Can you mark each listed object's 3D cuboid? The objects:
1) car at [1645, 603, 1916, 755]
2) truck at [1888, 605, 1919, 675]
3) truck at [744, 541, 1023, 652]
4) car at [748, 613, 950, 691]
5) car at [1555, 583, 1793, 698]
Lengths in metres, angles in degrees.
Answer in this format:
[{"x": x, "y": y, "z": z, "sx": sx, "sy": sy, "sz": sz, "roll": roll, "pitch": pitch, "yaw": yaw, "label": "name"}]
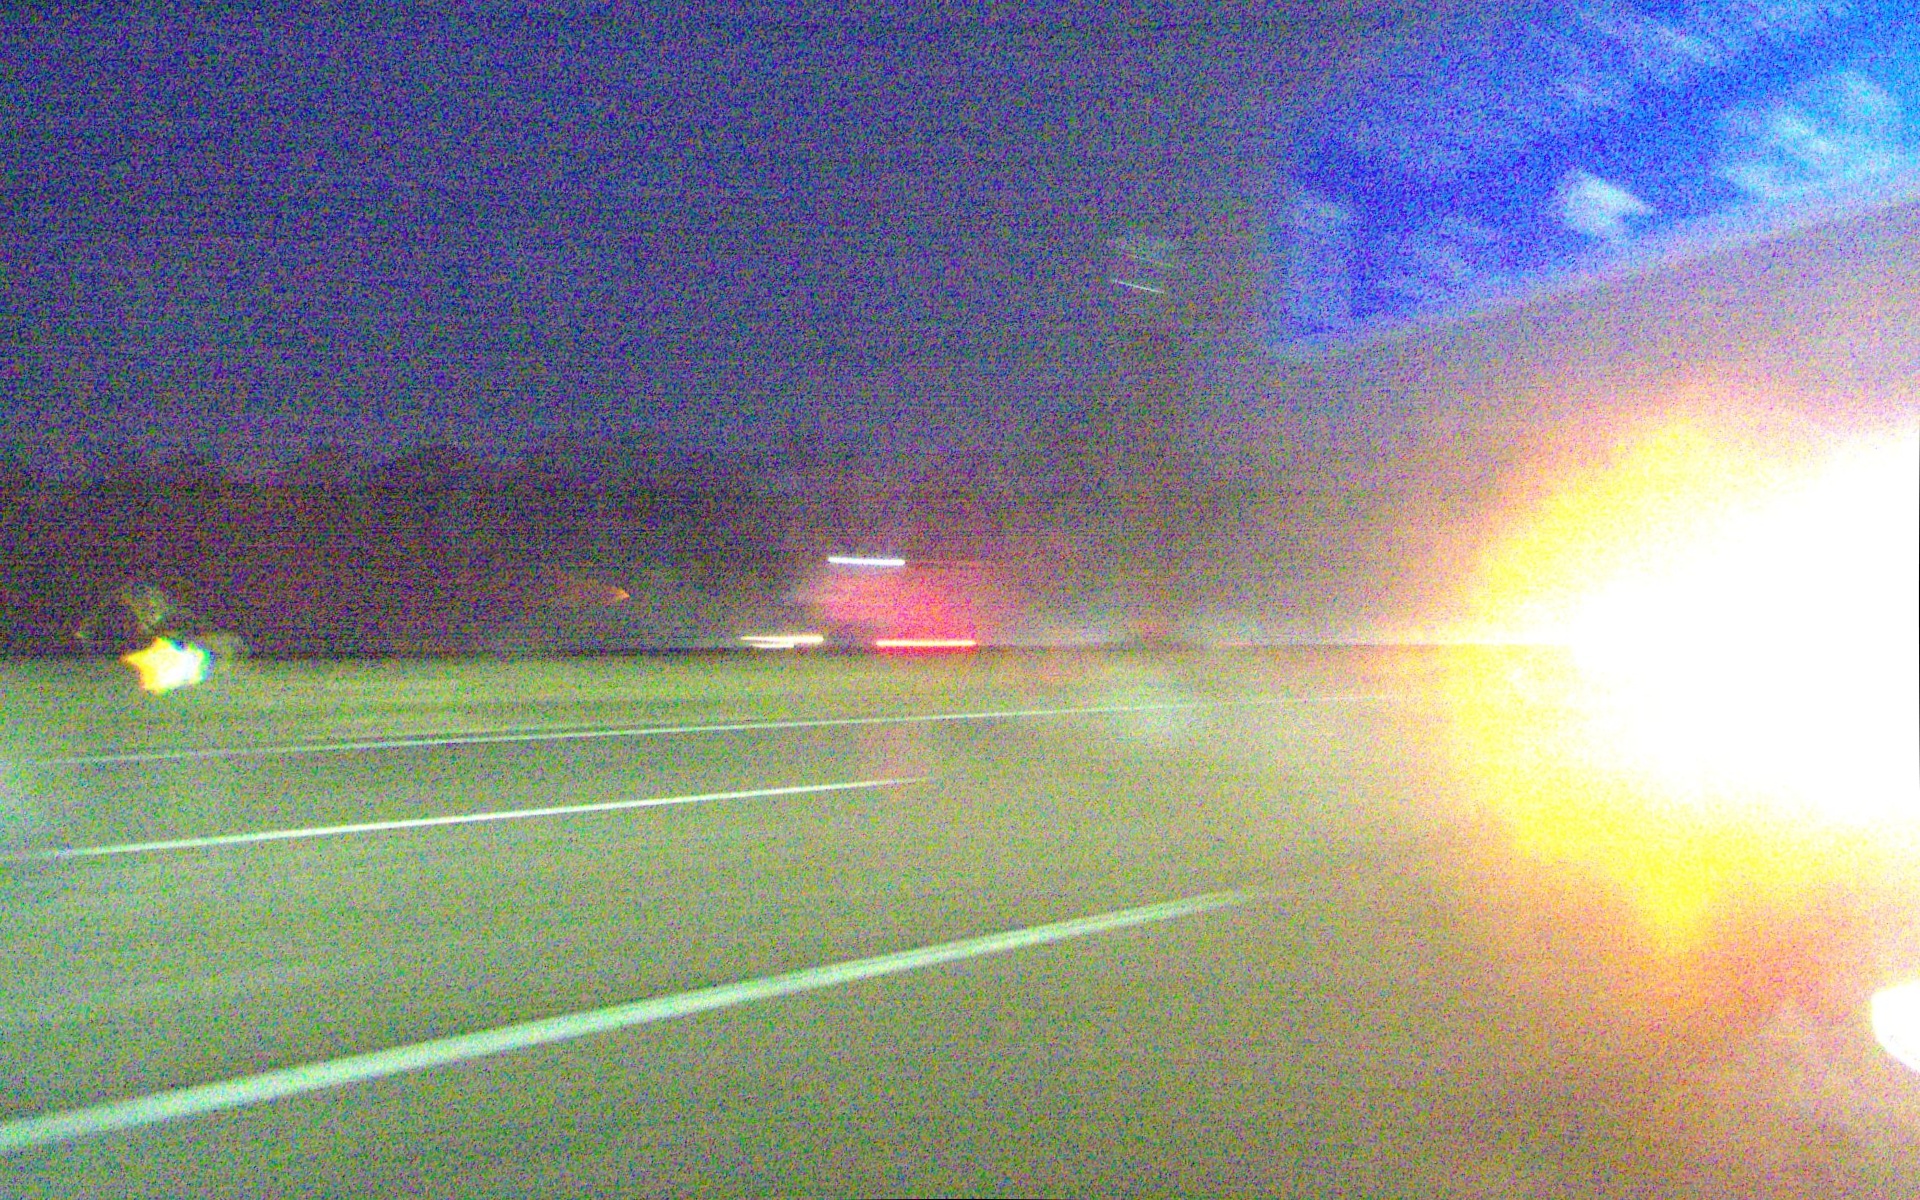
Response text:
[{"x": 10.892, "y": 0.920, "z": 13.264, "sx": 3.959, "sy": 1.712, "sz": 1.754, "roll": 1, "pitch": 0, "yaw": -35, "label": "car"}, {"x": 33.736, "y": 1.379, "z": 33.464, "sx": 5.797, "sy": 2.230, "sz": 2.840, "roll": 2, "pitch": 0, "yaw": -34, "label": "truck"}, {"x": -2.161, "y": -0.012, "z": 29.483, "sx": 7.652, "sy": 2.884, "sz": 2.887, "roll": 2, "pitch": 0, "yaw": -30, "label": "truck"}, {"x": -2.631, "y": 1.217, "z": 24.248, "sx": 4.607, "sy": 1.695, "sz": 1.604, "roll": 2, "pitch": 0, "yaw": -32, "label": "car"}, {"x": 15.025, "y": 0.795, "z": 21.043, "sx": 5.567, "sy": 2.132, "sz": 2.111, "roll": 1, "pitch": 0, "yaw": -32, "label": "car"}]
